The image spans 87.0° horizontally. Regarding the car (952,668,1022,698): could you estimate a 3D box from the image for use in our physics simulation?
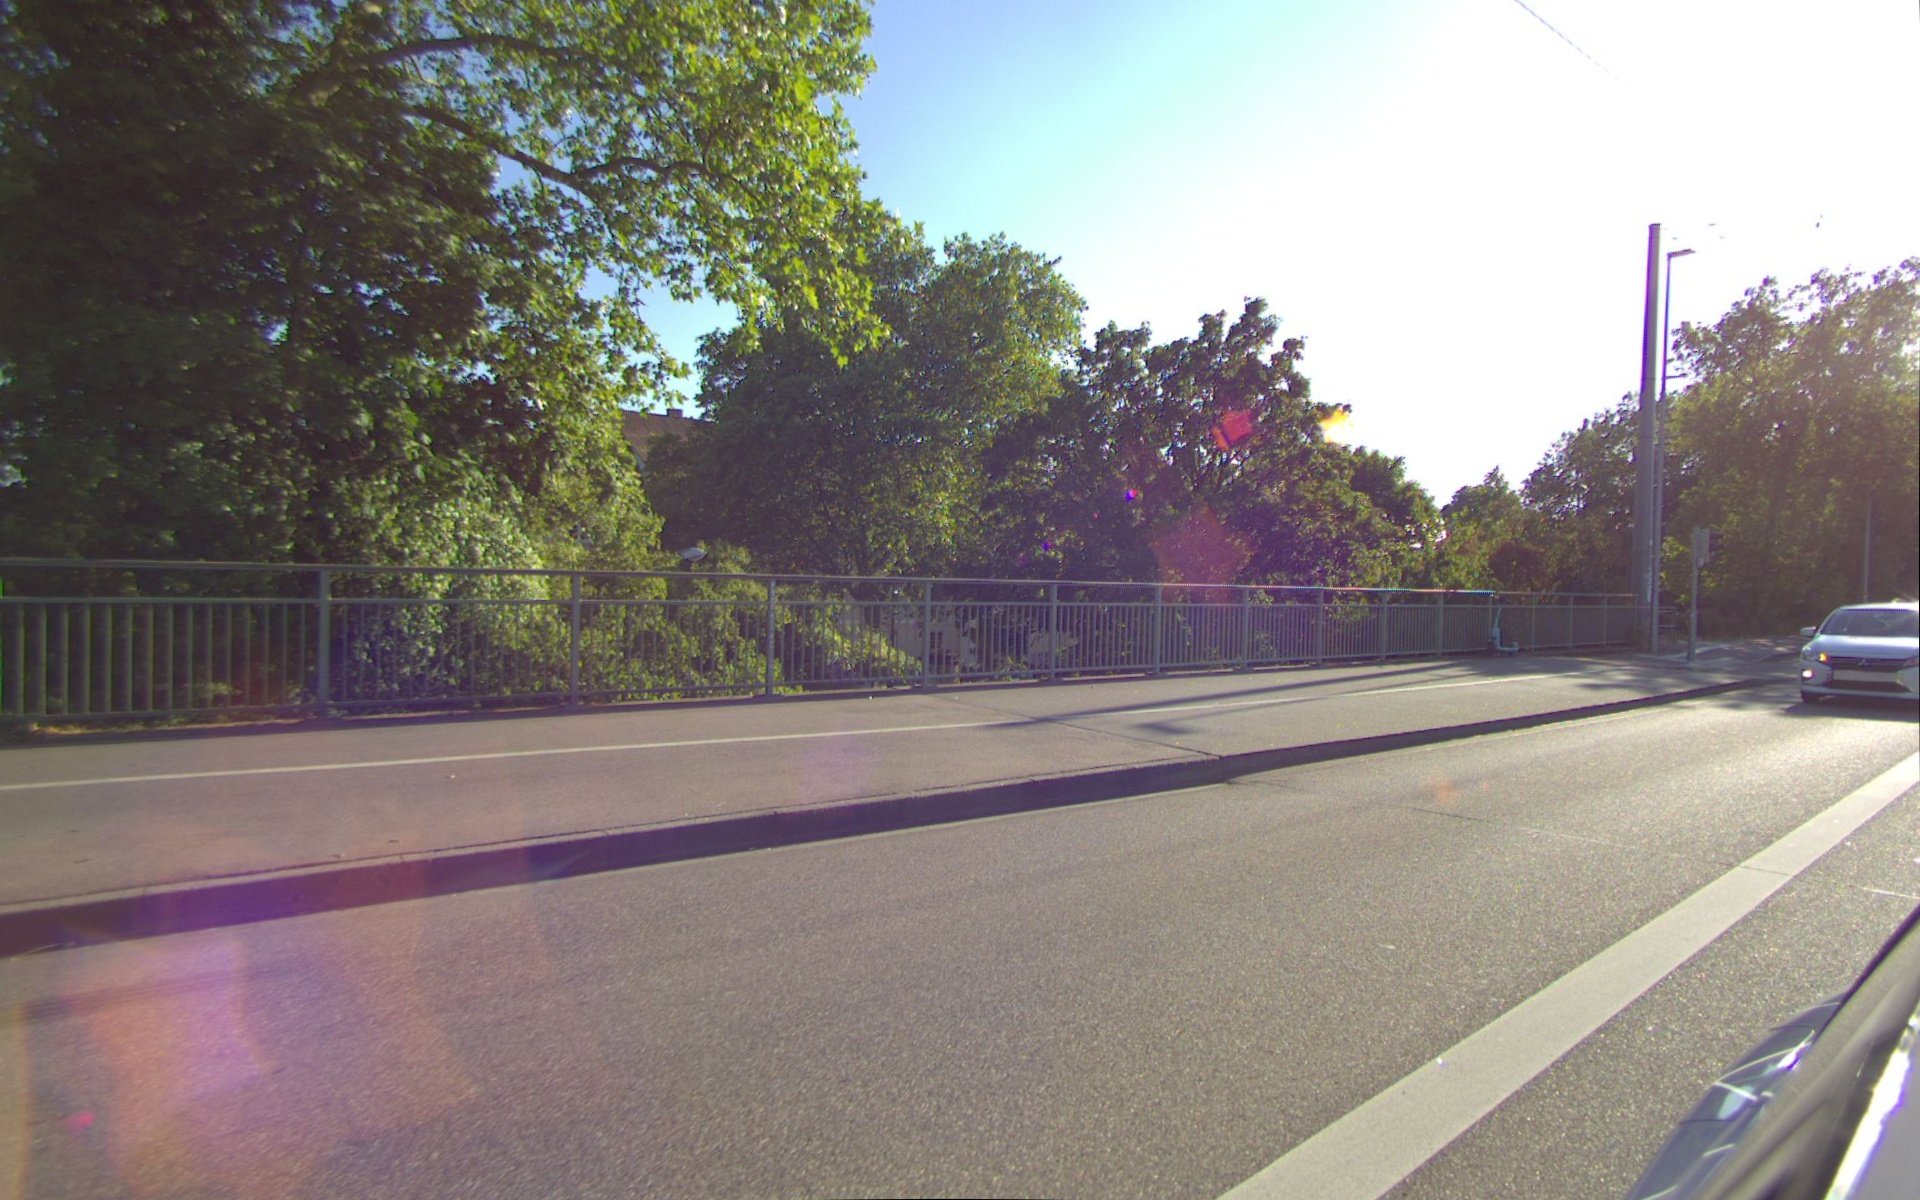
[{"bbox_3d":[1.645,4.940,60.470,4.001,1.556,1.712,1,-4,-41],"label":"car"}]

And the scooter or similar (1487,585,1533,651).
[{"bbox_3d":[11.126,0.350,20.454,1.064,1.291,0.427,1,1,-40],"label":"scooter or similar"}]

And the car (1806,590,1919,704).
[{"bbox_3d":[14.018,0.628,14.978,3.678,1.492,1.670,0,2,-40],"label":"car"}]

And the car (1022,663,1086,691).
[{"bbox_3d":[5.970,4.895,64.347,4.001,1.556,1.712,1,-4,-41],"label":"car"}]

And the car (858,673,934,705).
[{"bbox_3d":[-3.555,4.928,56.353,4.001,1.556,1.712,1,-4,-41],"label":"car"}]
